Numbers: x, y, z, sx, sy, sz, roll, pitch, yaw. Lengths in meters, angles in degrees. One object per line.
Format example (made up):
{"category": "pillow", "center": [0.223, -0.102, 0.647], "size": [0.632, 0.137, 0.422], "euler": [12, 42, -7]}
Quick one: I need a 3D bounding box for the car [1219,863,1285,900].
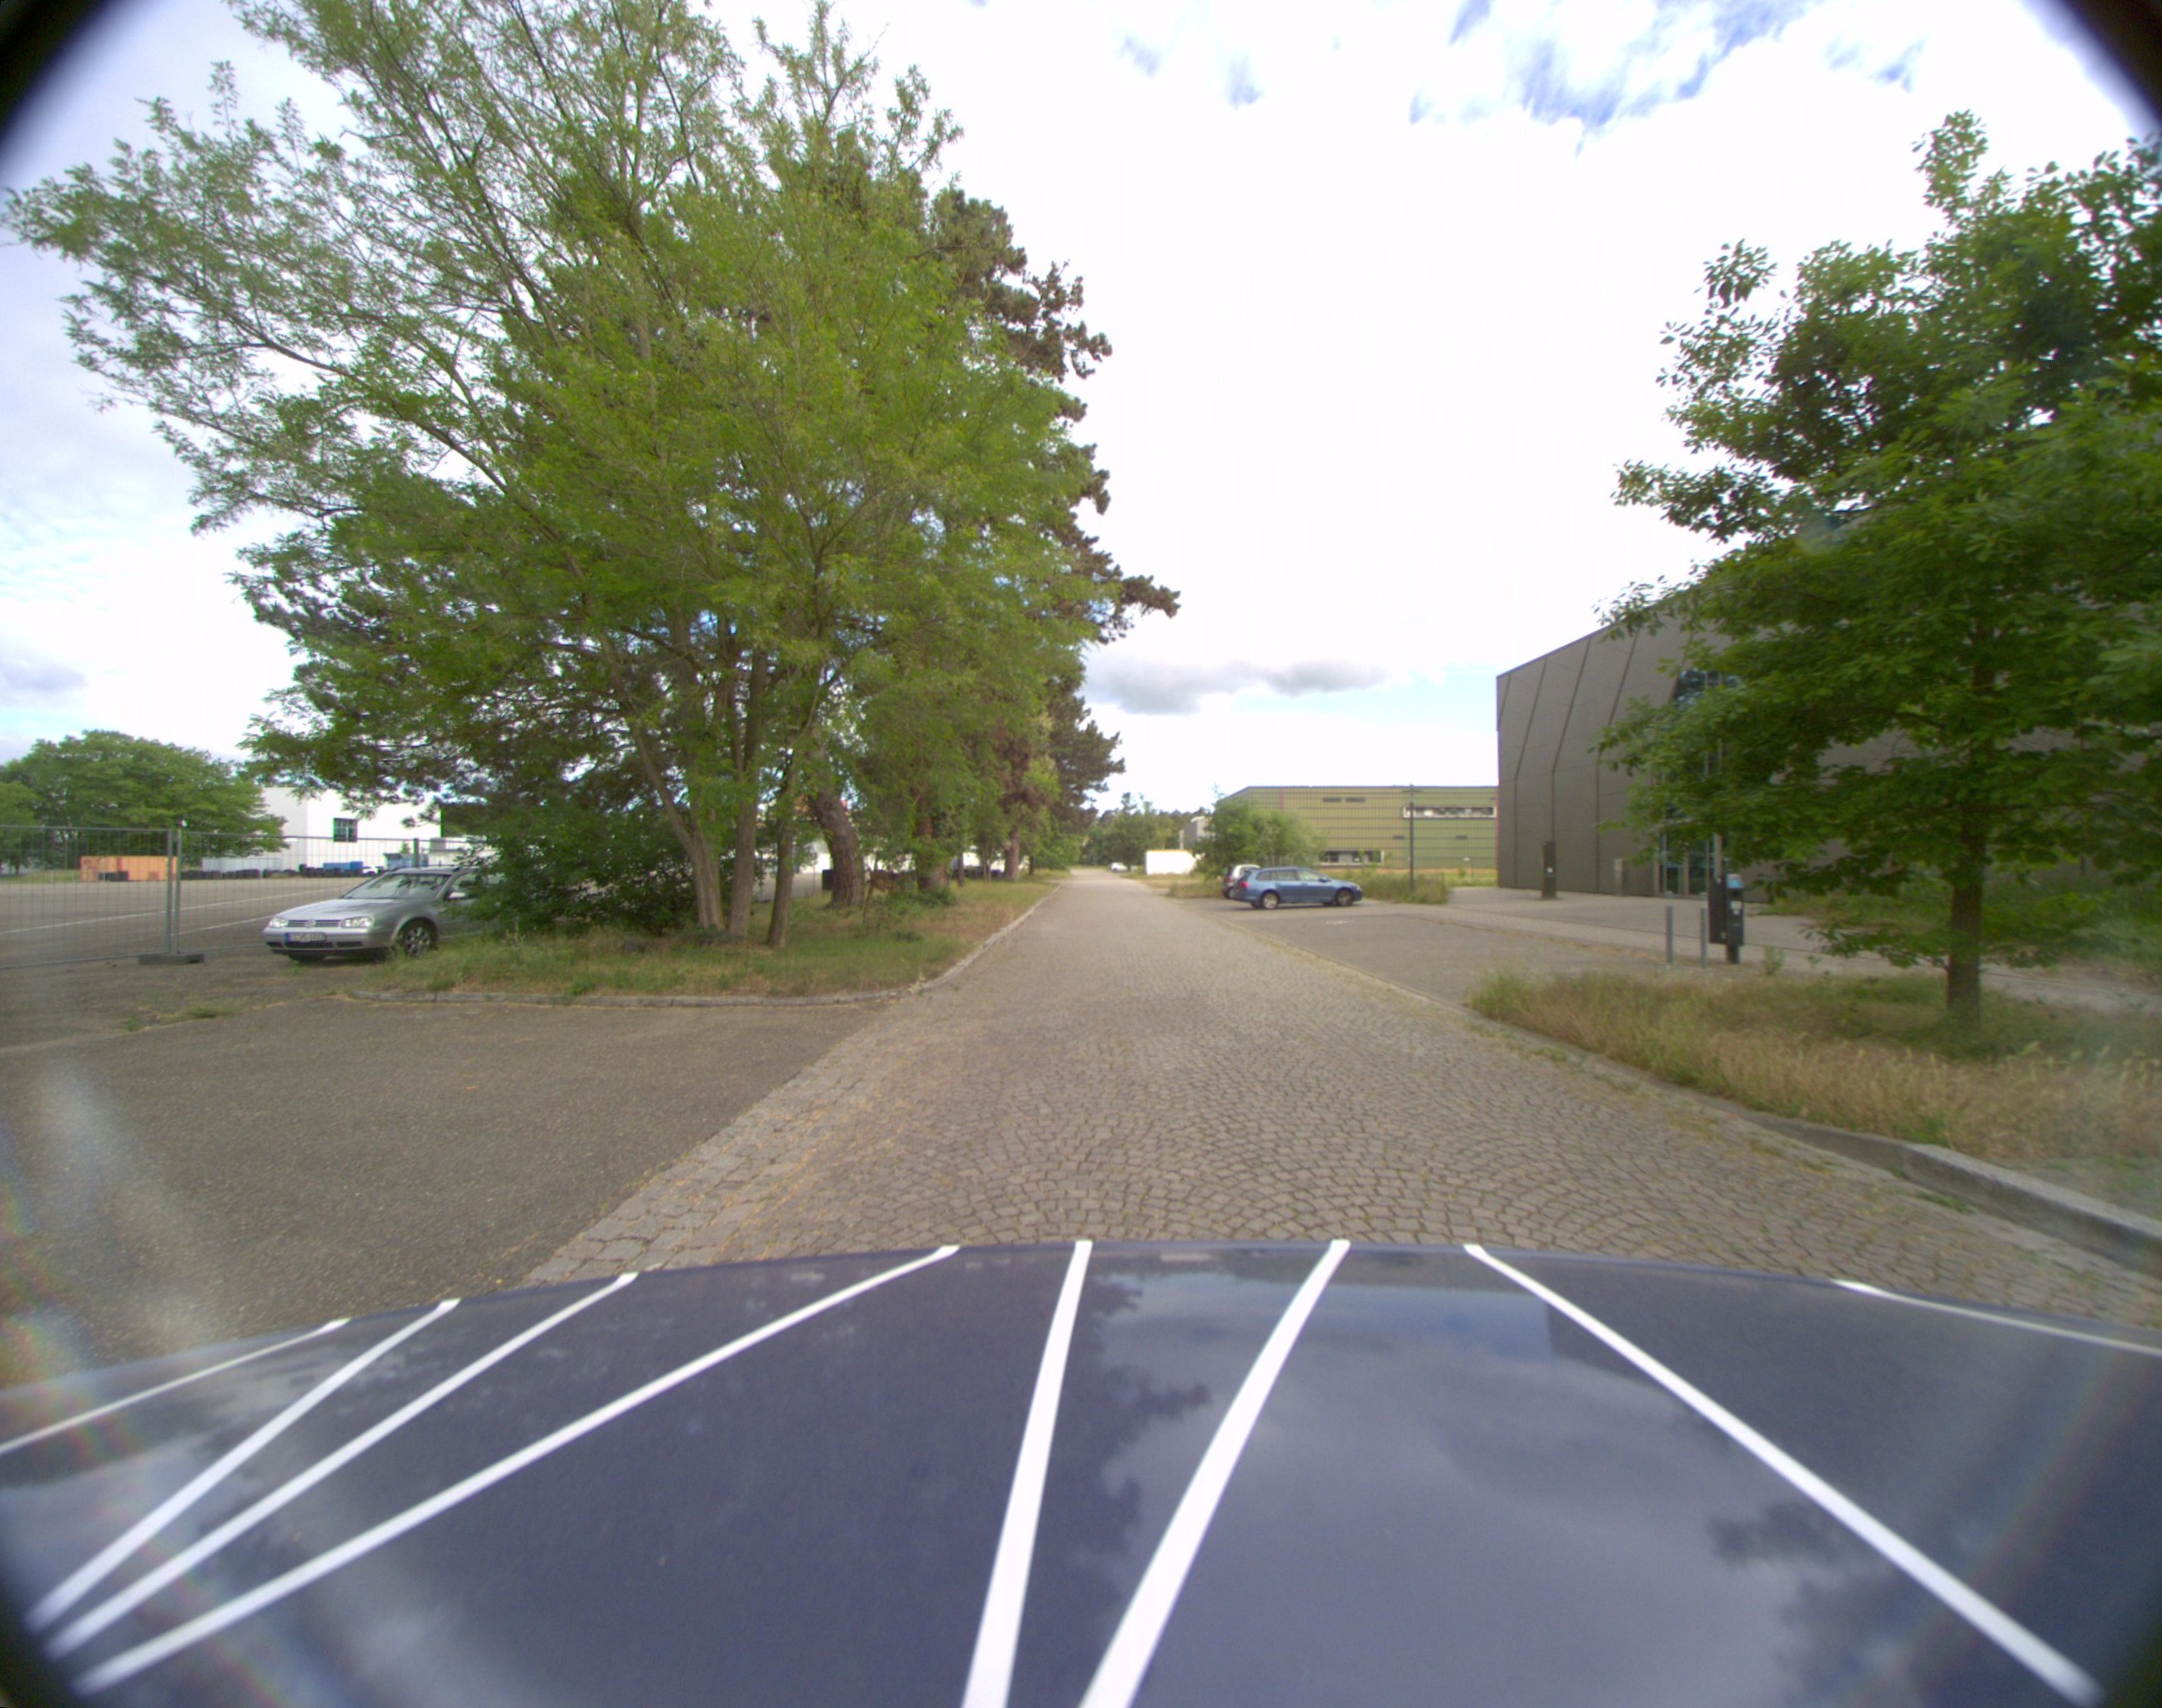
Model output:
{"category": "car", "center": [7.749, 1.226, 34.574], "size": [2.584, 1.521, 1.500], "euler": [-2, 0, -1]}

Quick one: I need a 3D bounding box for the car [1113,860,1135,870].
{"category": "car", "center": [8.260, 2.115, 147.020], "size": [4.062, 1.767, 1.793], "euler": [-1, 0, 0]}

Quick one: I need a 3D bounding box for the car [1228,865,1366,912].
{"category": "car", "center": [7.656, 1.216, 27.204], "size": [4.426, 1.461, 1.633], "euler": [-2, 0, -2]}

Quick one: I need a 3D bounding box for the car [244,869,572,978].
{"category": "car", "center": [-10.964, 1.014, 12.930], "size": [1.678, 1.442, 4.488], "euler": [-1, 0, -2]}
